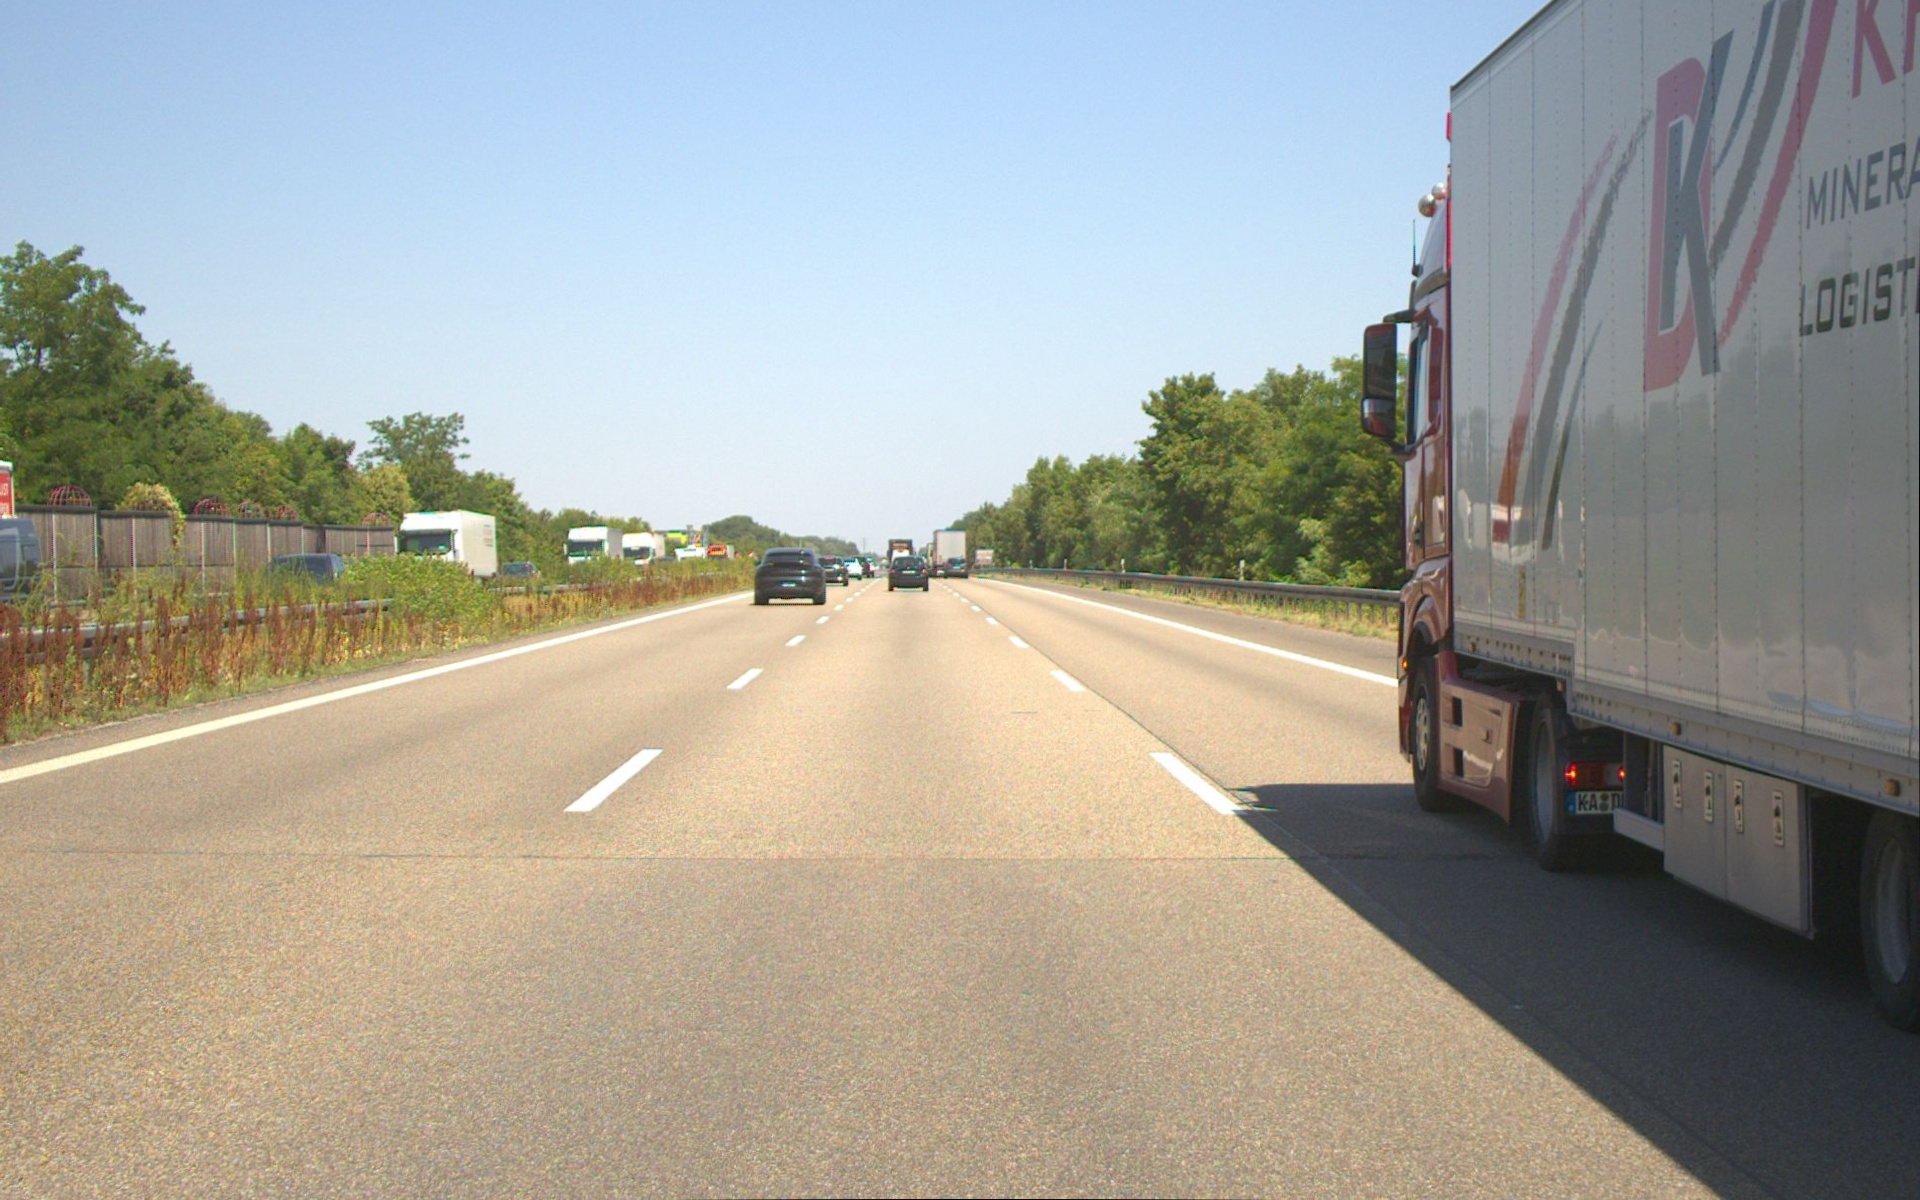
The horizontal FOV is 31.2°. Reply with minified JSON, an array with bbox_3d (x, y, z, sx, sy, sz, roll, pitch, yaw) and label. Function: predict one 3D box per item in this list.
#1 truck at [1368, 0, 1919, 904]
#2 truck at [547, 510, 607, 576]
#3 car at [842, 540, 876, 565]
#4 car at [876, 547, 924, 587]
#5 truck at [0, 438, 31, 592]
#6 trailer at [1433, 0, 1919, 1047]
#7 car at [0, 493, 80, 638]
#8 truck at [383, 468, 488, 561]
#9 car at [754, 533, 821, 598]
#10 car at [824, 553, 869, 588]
[{"bbox_3d":[4.249,-1.212,18.365,3.234,4.872,6.972,0,2,0],"label":"truck"},{"bbox_3d":[-25.873,-3.847,232.673,3.217,4.424,7.871,0,1,0],"label":"truck"},{"bbox_3d":[-6.704,-3.157,228.590,2.128,1.640,4.304,-1,1,0],"label":"car"},{"bbox_3d":[-2.473,-1.379,141.810,1.903,1.578,4.304,-1,1,0],"label":"car"},{"bbox_3d":[-22.154,-1.678,68.369,2.837,3.330,17.006,0,2,0],"label":"truck"},{"bbox_3d":[4.281,-1.236,11.793,3.269,4.821,14.030,0,2,0],"label":"trailer"},{"bbox_3d":[-18.115,-0.694,62.269,2.315,2.554,7.584,4,1,0],"label":"car"},{"bbox_3d":[-23.884,-3.884,156.999,3.581,4.089,7.839,-1,1,-1],"label":"truck"},{"bbox_3d":[-4.959,-1.016,99.431,1.880,1.786,4.001,0,2,-2],"label":"car"},{"bbox_3d":[-5.625,-1.471,170.958,2.128,1.640,4.304,-1,1,0],"label":"car"}]
